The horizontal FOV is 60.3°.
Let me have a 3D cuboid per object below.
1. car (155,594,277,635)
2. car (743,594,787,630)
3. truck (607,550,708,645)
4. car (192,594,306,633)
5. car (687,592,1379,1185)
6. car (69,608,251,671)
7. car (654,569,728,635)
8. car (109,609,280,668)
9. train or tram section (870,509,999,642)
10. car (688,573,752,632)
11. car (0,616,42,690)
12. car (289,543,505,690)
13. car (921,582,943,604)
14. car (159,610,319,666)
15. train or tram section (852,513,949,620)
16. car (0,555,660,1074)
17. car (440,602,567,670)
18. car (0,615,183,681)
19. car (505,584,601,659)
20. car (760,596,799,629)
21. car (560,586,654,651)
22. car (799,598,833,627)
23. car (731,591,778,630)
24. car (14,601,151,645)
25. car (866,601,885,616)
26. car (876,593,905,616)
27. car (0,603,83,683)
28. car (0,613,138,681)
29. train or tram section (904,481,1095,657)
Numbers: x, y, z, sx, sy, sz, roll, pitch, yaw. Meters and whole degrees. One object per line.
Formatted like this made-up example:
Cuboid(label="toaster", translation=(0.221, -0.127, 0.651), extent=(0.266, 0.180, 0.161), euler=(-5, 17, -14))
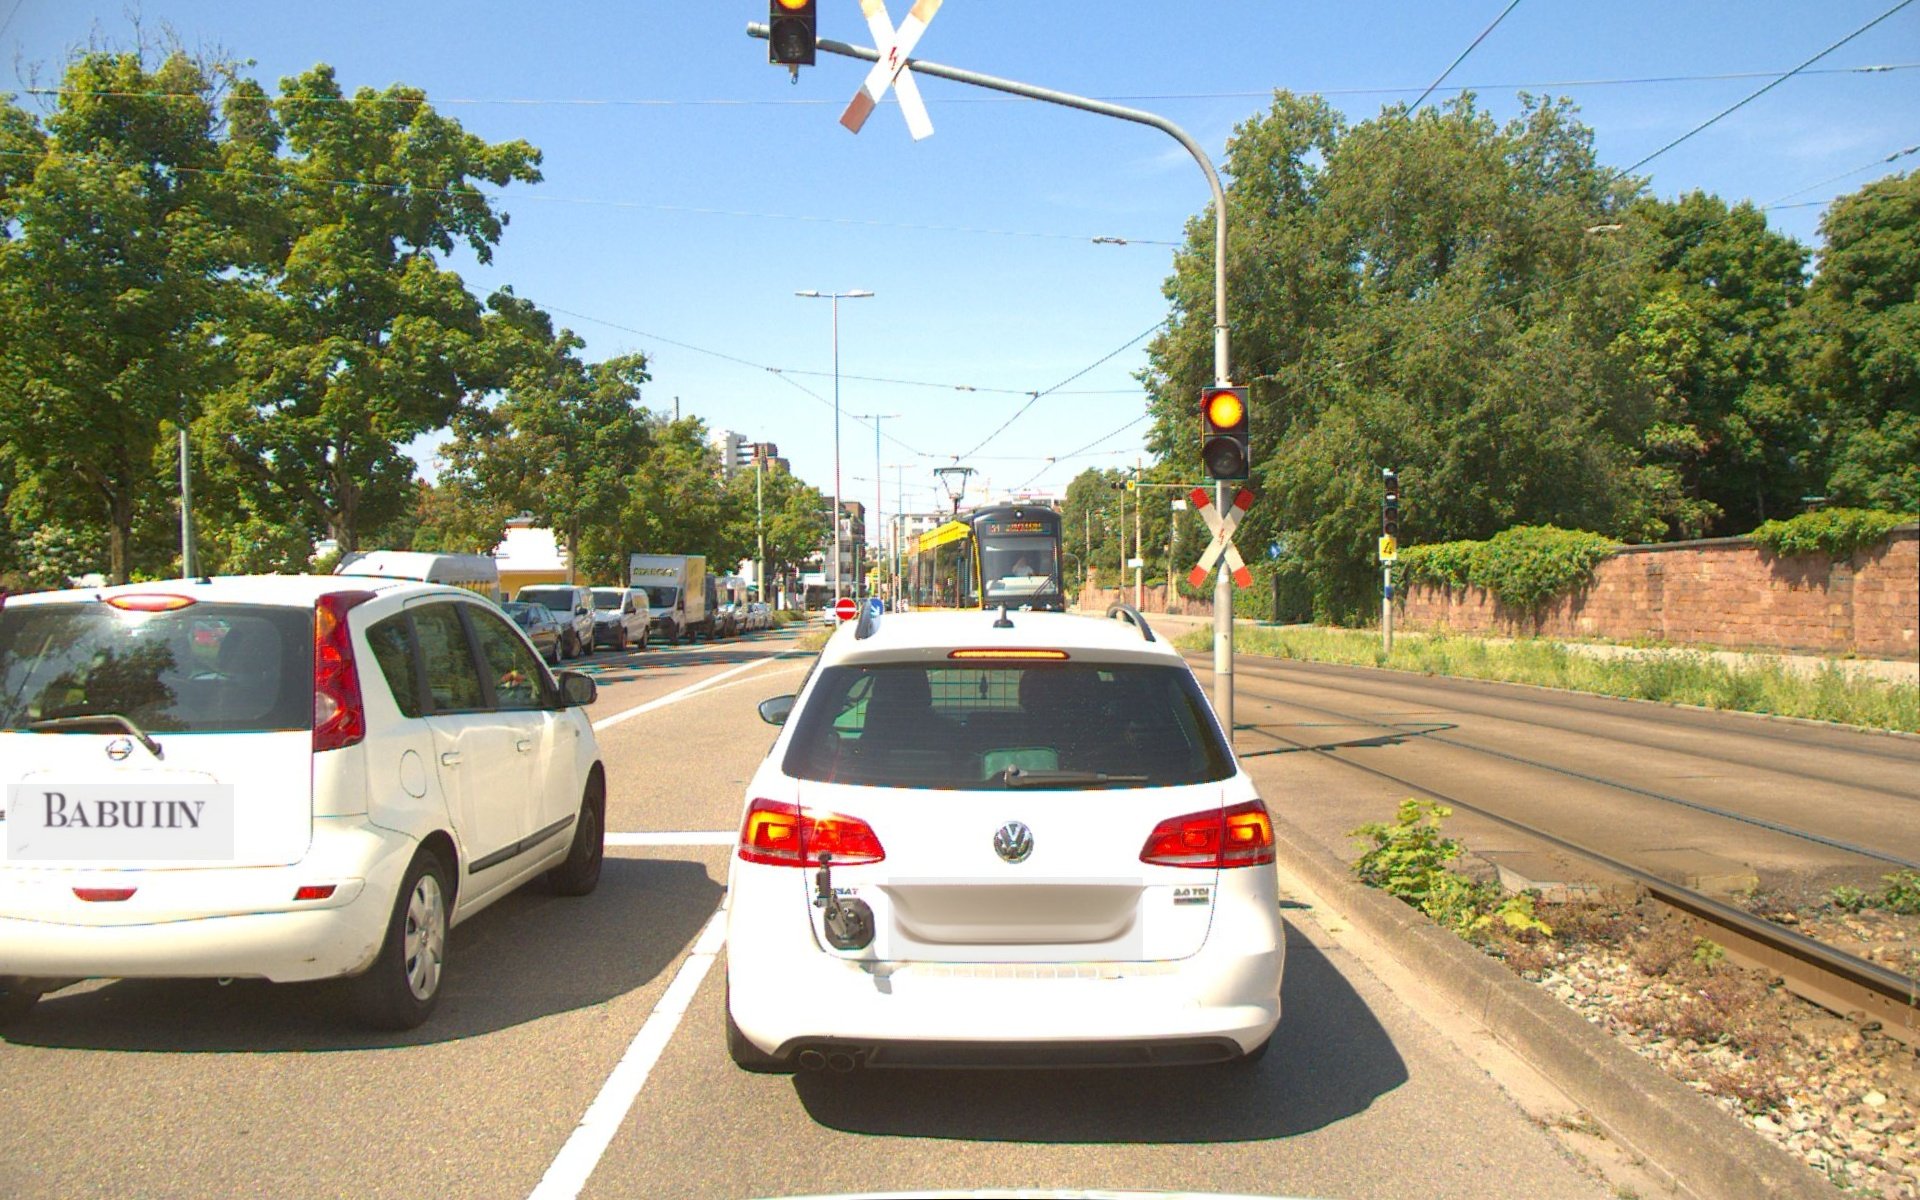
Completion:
Cuboid(label="car", translation=(-34.379, 0.671, 76.522), extent=(4.698, 1.819, 2.062), euler=(1, 0, -5))
Cuboid(label="car", translation=(-10.760, 0.650, 91.501), extent=(1.826, 1.900, 5.412), euler=(1, 0, -1))
Cuboid(label="truck", translation=(-10.891, -0.109, 60.143), extent=(2.371, 3.205, 6.996), euler=(1, 0, 0))
Cuboid(label="car", translation=(-34.897, 0.682, 81.293), extent=(4.698, 1.819, 2.062), euler=(1, 0, -5))
Cuboid(label="car", translation=(0.161, 0.718, 6.194), extent=(1.726, 1.455, 3.999), euler=(-1, 0, -1))
Cuboid(label="car", translation=(-21.110, 1.027, 43.776), extent=(3.909, 1.440, 1.728), euler=(-2, 0, -5))
Cuboid(label="car", translation=(-11.010, 0.066, 68.140), extent=(2.079, 2.560, 5.733), euler=(1, 0, 0))
Cuboid(label="car", translation=(-21.288, 1.060, 46.104), extent=(3.909, 1.440, 1.728), euler=(-2, 0, -5))
Cuboid(label="train or tram section", translation=(-1.077, -0.745, 55.547), extent=(2.817, 3.923, 12.369), euler=(-1, 0, -8))
Cuboid(label="car", translation=(-10.912, 0.102, 75.577), extent=(2.079, 2.560, 5.733), euler=(1, 0, 0))
Cuboid(label="car", translation=(-20.731, 1.124, 32.891), extent=(3.909, 1.440, 1.728), euler=(-2, 0, -5))
Cuboid(label="car", translation=(-10.746, 0.277, 32.122), extent=(2.079, 2.560, 5.817), euler=(1, 0, 1))
Cuboid(label="car", translation=(-3.268, -0.810, 193.346), extent=(2.325, 2.538, 6.372), euler=(-1, 0, 0))
Cuboid(label="car", translation=(-21.276, 1.104, 48.922), extent=(3.909, 1.440, 1.728), euler=(-2, 0, -5))
Cuboid(label="train or tram section", translation=(-2.551, -1.273, 66.916), extent=(2.817, 3.923, 10.519), euler=(-1, 0, -8))
Cuboid(label="car", translation=(-2.558, 0.640, 7.292), extent=(1.628, 1.575, 4.546), euler=(0, 0, 0))
Cuboid(label="car", translation=(-10.572, 0.803, 38.597), extent=(1.826, 1.440, 4.278), euler=(1, 0, -1))
Cuboid(label="car", translation=(-21.728, 1.169, 41.183), extent=(3.909, 1.440, 1.728), euler=(-2, 0, -5))
Cuboid(label="car", translation=(-11.016, 0.532, 45.129), extent=(1.828, 1.900, 5.068), euler=(1, 0, -6))
Cuboid(label="car", translation=(-10.708, 0.714, 98.418), extent=(1.826, 1.900, 5.412), euler=(1, 0, -1))
Cuboid(label="car", translation=(-10.966, 0.530, 51.717), extent=(1.826, 1.900, 5.412), euler=(1, 0, -1))
Cuboid(label="car", translation=(-8.333, 0.707, 95.929), extent=(1.642, 1.580, 3.579), euler=(-3, 0, -1))
Cuboid(label="car", translation=(-10.489, 0.503, 84.691), extent=(1.826, 1.900, 5.412), euler=(1, 0, -1))
Cuboid(label="car", translation=(-37.812, 0.987, 71.369), extent=(4.698, 1.819, 2.062), euler=(1, 0, -5))
Cuboid(label="car", translation=(-9.108, 0.939, 178.621), extent=(1.670, 1.499, 4.589), euler=(-1, 0, 0))
Cuboid(label="car", translation=(-4.717, 0.265, 112.741), extent=(1.670, 1.499, 4.589), euler=(-1, 0, 0))
Cuboid(label="car", translation=(-21.077, 0.964, 35.111), extent=(3.909, 1.638, 1.728), euler=(-2, 0, -5))
Cuboid(label="car", translation=(-21.617, 1.117, 38.628), extent=(3.909, 1.440, 1.728), euler=(-2, 0, -5))
Cuboid(label="train or tram section", translation=(0.693, -0.722, 43.388), extent=(2.817, 3.923, 12.366), euler=(-1, 0, -9))
